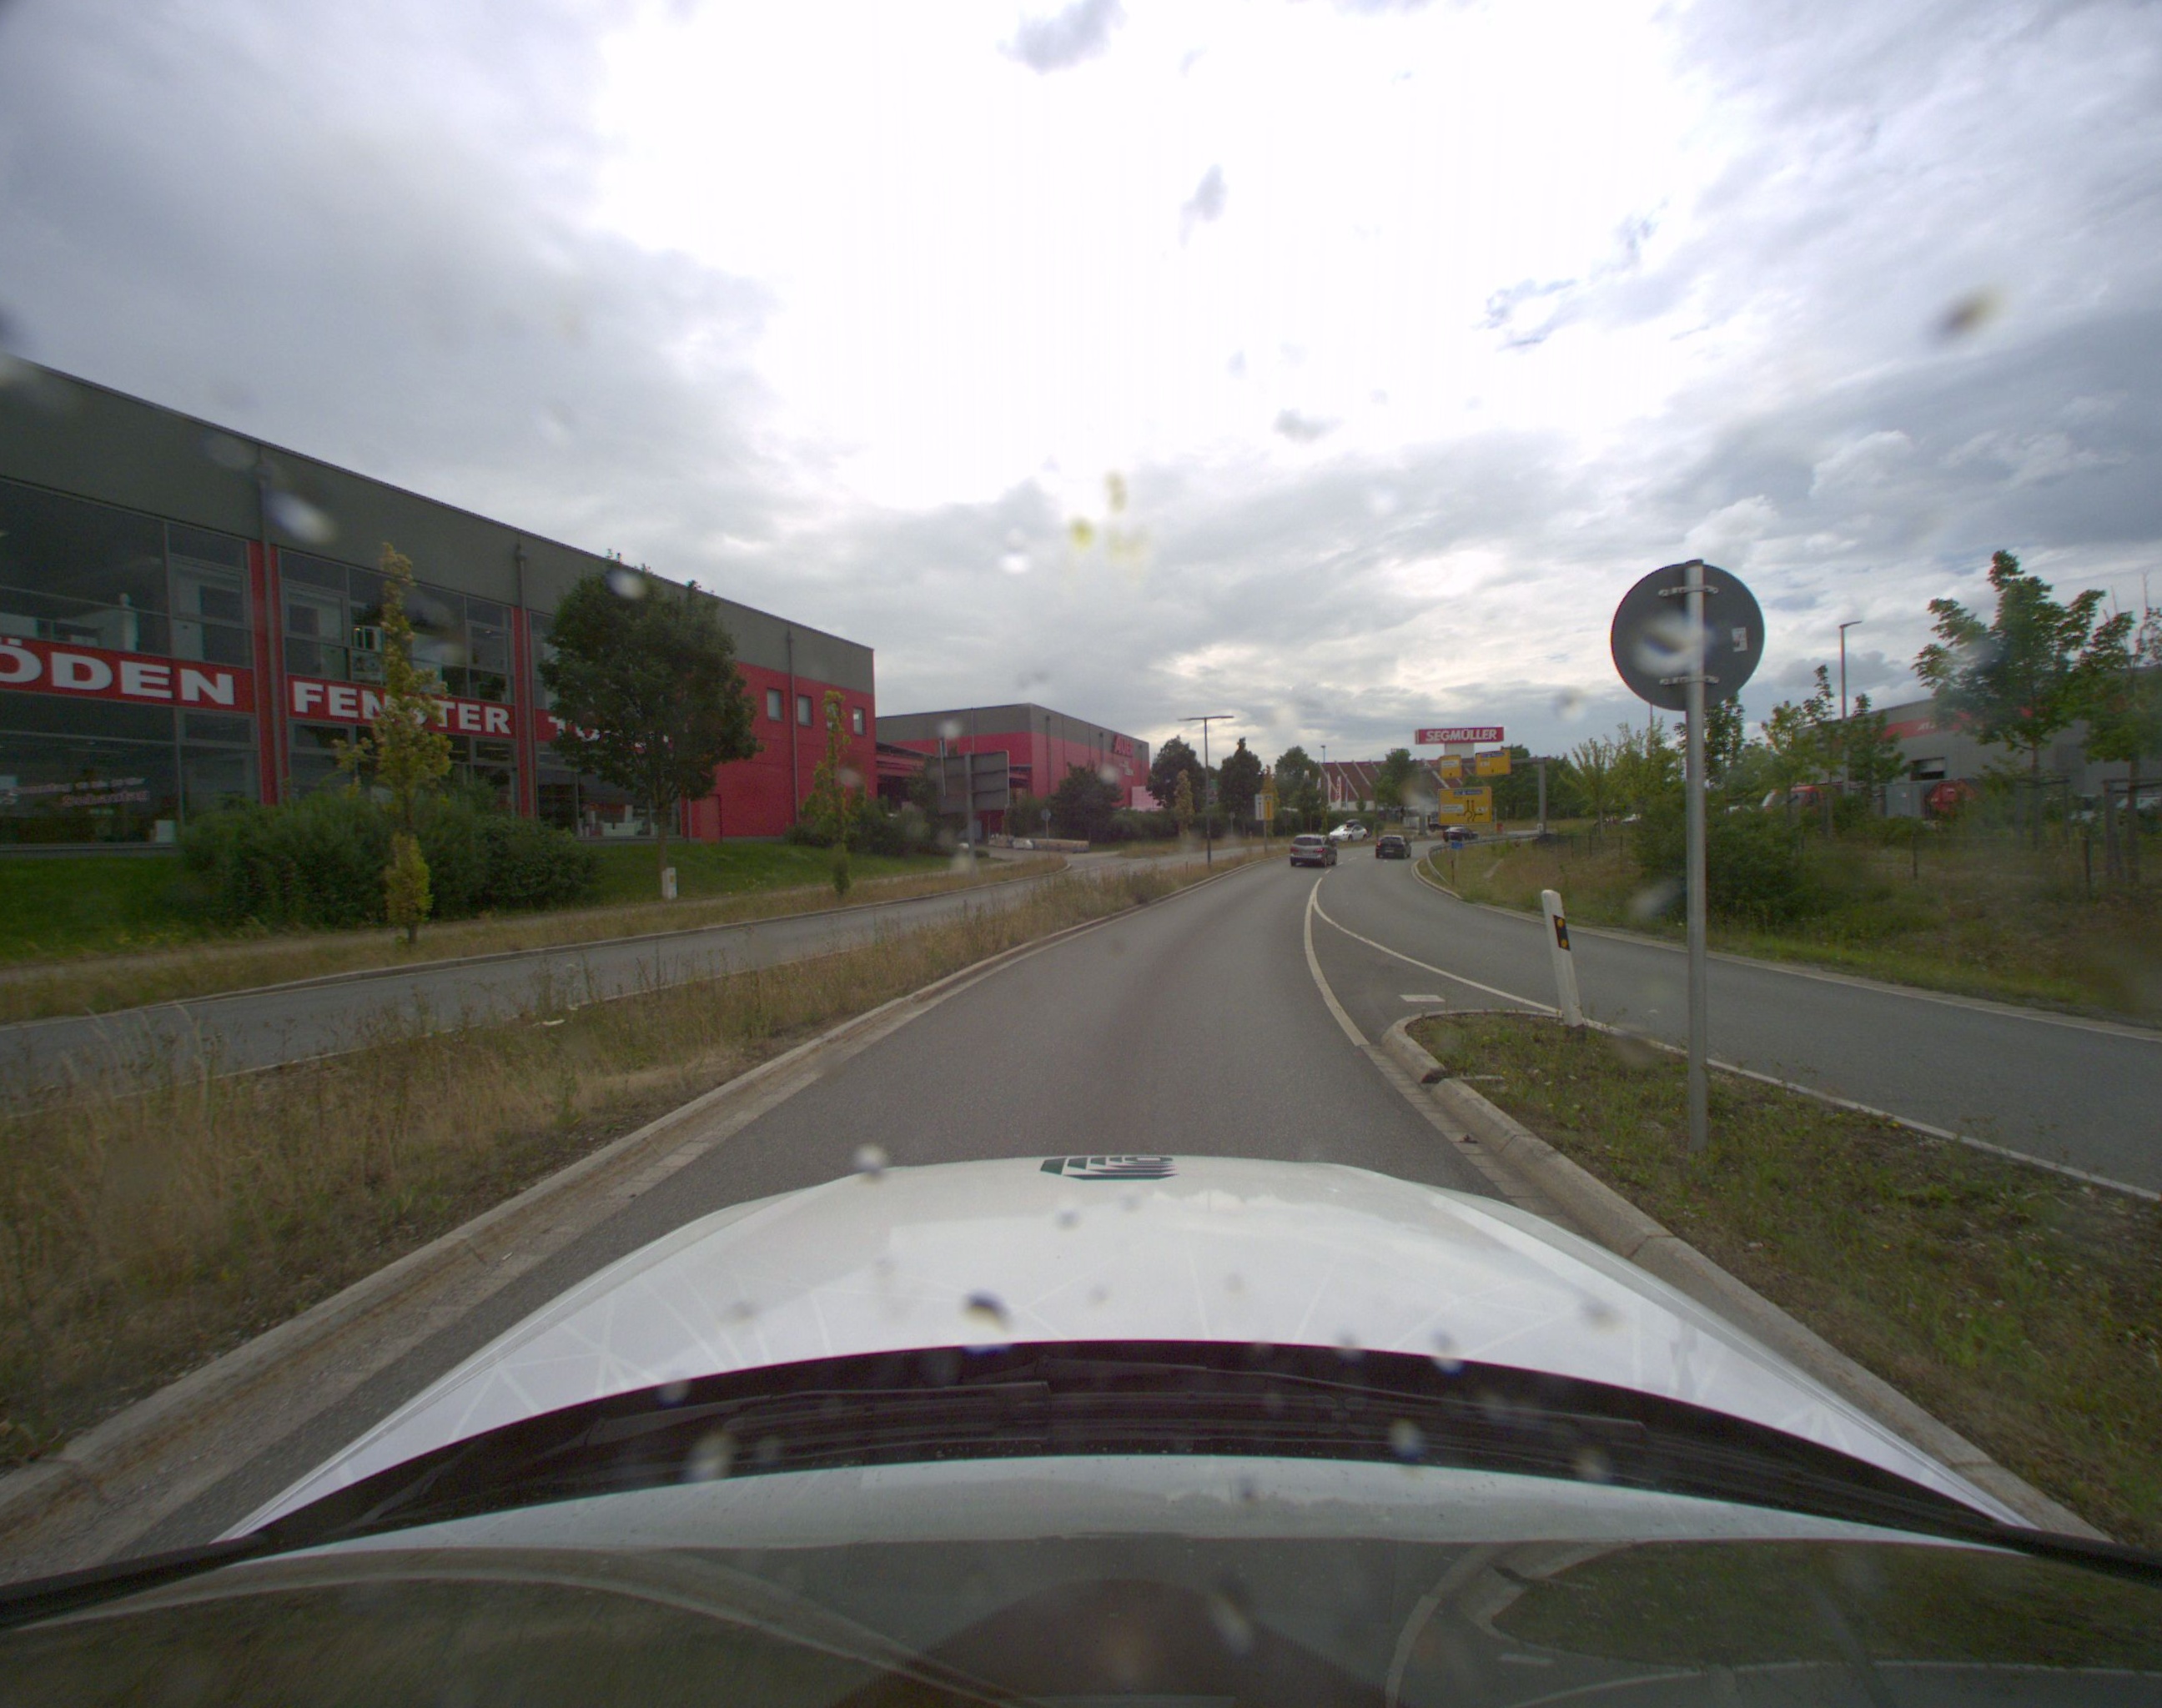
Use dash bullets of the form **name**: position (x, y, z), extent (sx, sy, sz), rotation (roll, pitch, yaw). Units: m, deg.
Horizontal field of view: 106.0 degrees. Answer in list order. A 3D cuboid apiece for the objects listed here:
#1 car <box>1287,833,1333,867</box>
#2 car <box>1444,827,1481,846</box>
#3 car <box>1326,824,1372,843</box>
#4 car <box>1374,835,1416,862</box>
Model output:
- **car**: position (11.812, -0.238, 41.837), extent (1.752, 1.616, 3.943), rotation (3, 2, 23)
- **car**: position (34.053, -1.585, 72.699), extent (1.888, 1.618, 4.025), rotation (-1, 0, 42)
- **car**: position (24.146, -1.900, 73.391), extent (4.663, 1.625, 1.892), rotation (-2, 5, -43)
- **car**: position (19.462, -0.332, 50.472), extent (1.851, 1.605, 3.758), rotation (0, 1, 30)
